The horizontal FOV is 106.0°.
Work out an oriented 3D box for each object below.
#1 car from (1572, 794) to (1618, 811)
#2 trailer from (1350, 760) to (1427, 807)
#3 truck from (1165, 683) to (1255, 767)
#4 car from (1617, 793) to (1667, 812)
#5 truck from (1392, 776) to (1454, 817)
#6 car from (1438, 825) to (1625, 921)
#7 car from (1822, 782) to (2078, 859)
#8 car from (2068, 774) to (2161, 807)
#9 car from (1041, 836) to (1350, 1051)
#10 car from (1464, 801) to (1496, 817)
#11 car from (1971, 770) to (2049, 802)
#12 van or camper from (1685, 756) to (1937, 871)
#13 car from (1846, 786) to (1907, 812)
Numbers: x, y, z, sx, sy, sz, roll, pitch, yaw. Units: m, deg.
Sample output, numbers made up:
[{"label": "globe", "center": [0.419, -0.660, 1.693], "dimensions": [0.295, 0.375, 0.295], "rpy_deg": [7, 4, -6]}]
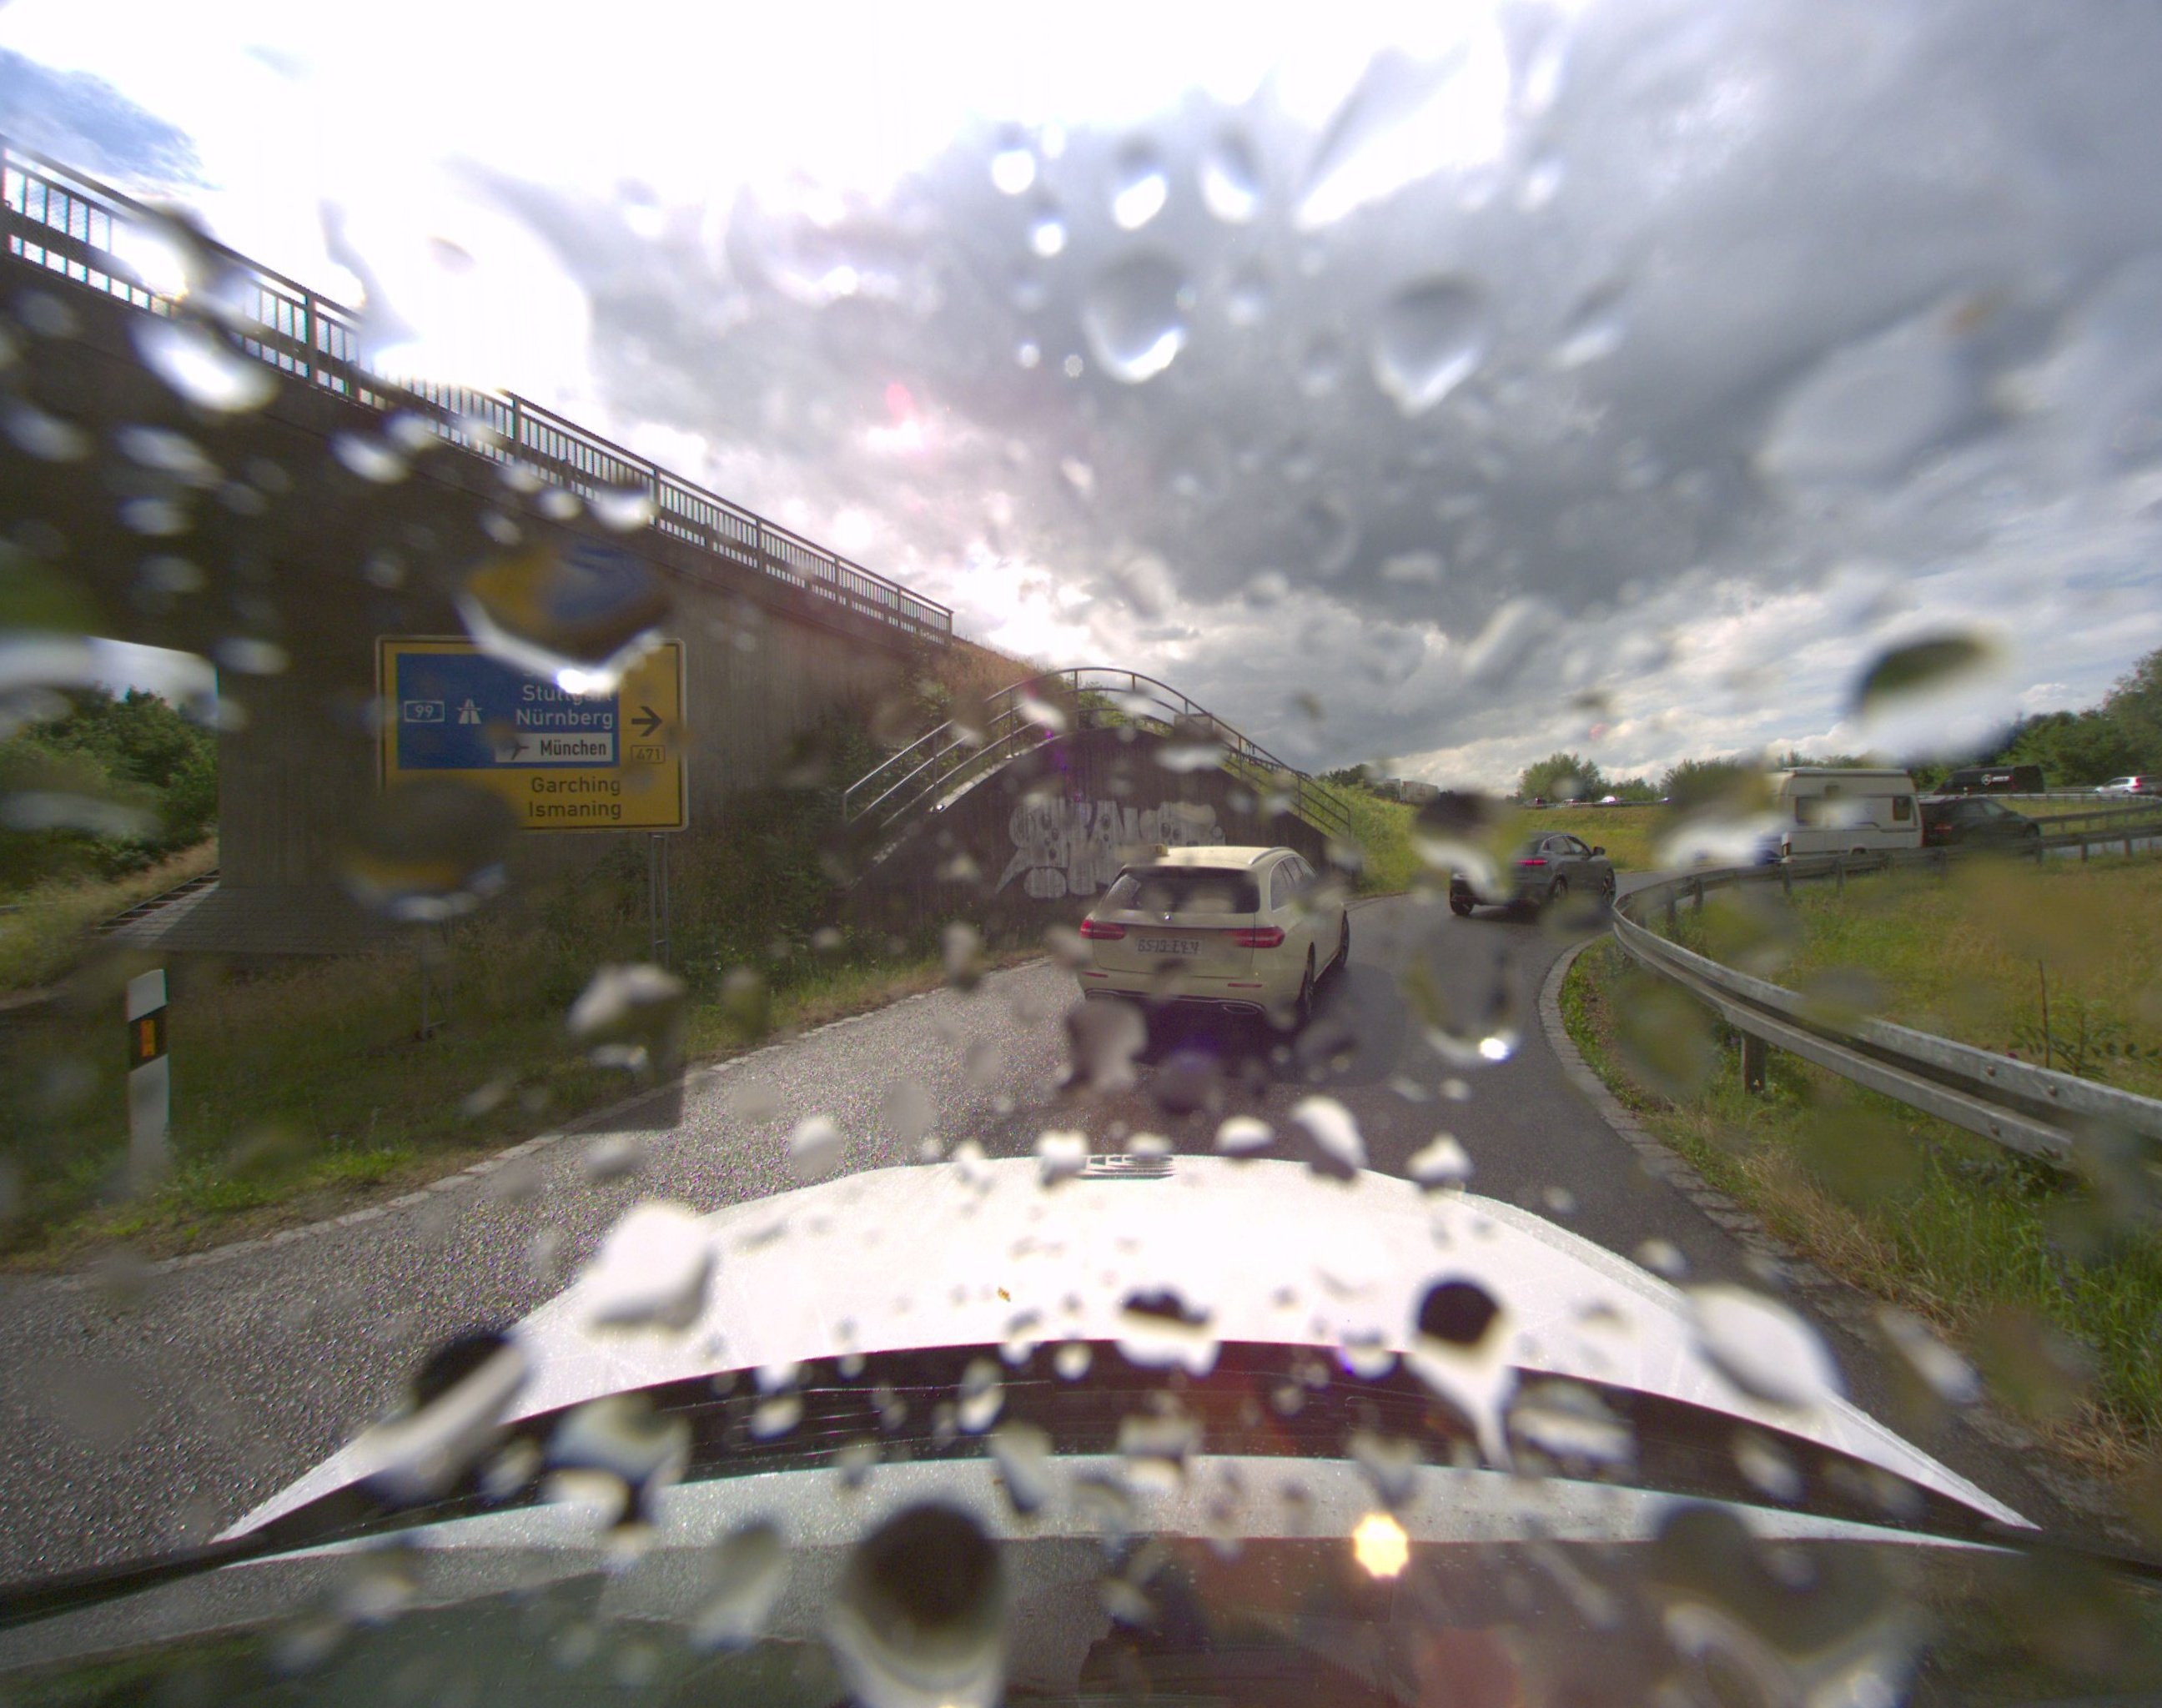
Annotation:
[{"label": "car", "center": [66.587, -6.634, 105.592], "dimensions": [1.996, 1.861, 5.033], "rpy_deg": [-2, 0, -14]}, {"label": "trailer", "center": [38.692, -8.509, 101.420], "dimensions": [4.370, 3.956, 20.347], "rpy_deg": [-1, -1, 34]}, {"label": "truck", "center": [8.752, -8.353, 54.111], "dimensions": [3.150, 3.966, 9.292], "rpy_deg": [-1, -1, 27]}, {"label": "car", "center": [67.139, -6.148, 97.599], "dimensions": [2.006, 1.861, 4.467], "rpy_deg": [-2, 0, -30]}, {"label": "truck", "center": [49.670, -8.057, 117.678], "dimensions": [4.417, 4.503, 19.499], "rpy_deg": [-1, -1, 34]}, {"label": "car", "center": [8.345, 0.248, 14.946], "dimensions": [4.021, 1.524, 1.703], "rpy_deg": [-2, 2, -41]}, {"label": "car", "center": [24.744, -0.962, 23.266], "dimensions": [5.746, 1.925, 2.426], "rpy_deg": [-2, 2, -12]}, {"label": "car", "center": [67.731, -4.092, 53.132], "dimensions": [1.647, 1.784, 5.079], "rpy_deg": [-2, 0, 16]}, {"label": "car", "center": [1.484, 0.604, 8.194], "dimensions": [1.899, 1.507, 4.622], "rpy_deg": [-1, 1, 23]}, {"label": "car", "center": [55.429, -6.193, 113.133], "dimensions": [3.949, 2.014, 1.838], "rpy_deg": [-1, -1, 29]}, {"label": "car", "center": [70.936, -5.167, 62.259], "dimensions": [1.979, 2.014, 4.015], "rpy_deg": [0, -1, 14]}, {"label": "van or camper", "center": [19.409, -1.110, 21.671], "dimensions": [6.001, 2.729, 2.423], "rpy_deg": [-3, 2, -20]}, {"label": "car", "center": [72.227, -4.981, 74.053], "dimensions": [1.982, 2.013, 4.011], "rpy_deg": [-2, 0, 9]}]
